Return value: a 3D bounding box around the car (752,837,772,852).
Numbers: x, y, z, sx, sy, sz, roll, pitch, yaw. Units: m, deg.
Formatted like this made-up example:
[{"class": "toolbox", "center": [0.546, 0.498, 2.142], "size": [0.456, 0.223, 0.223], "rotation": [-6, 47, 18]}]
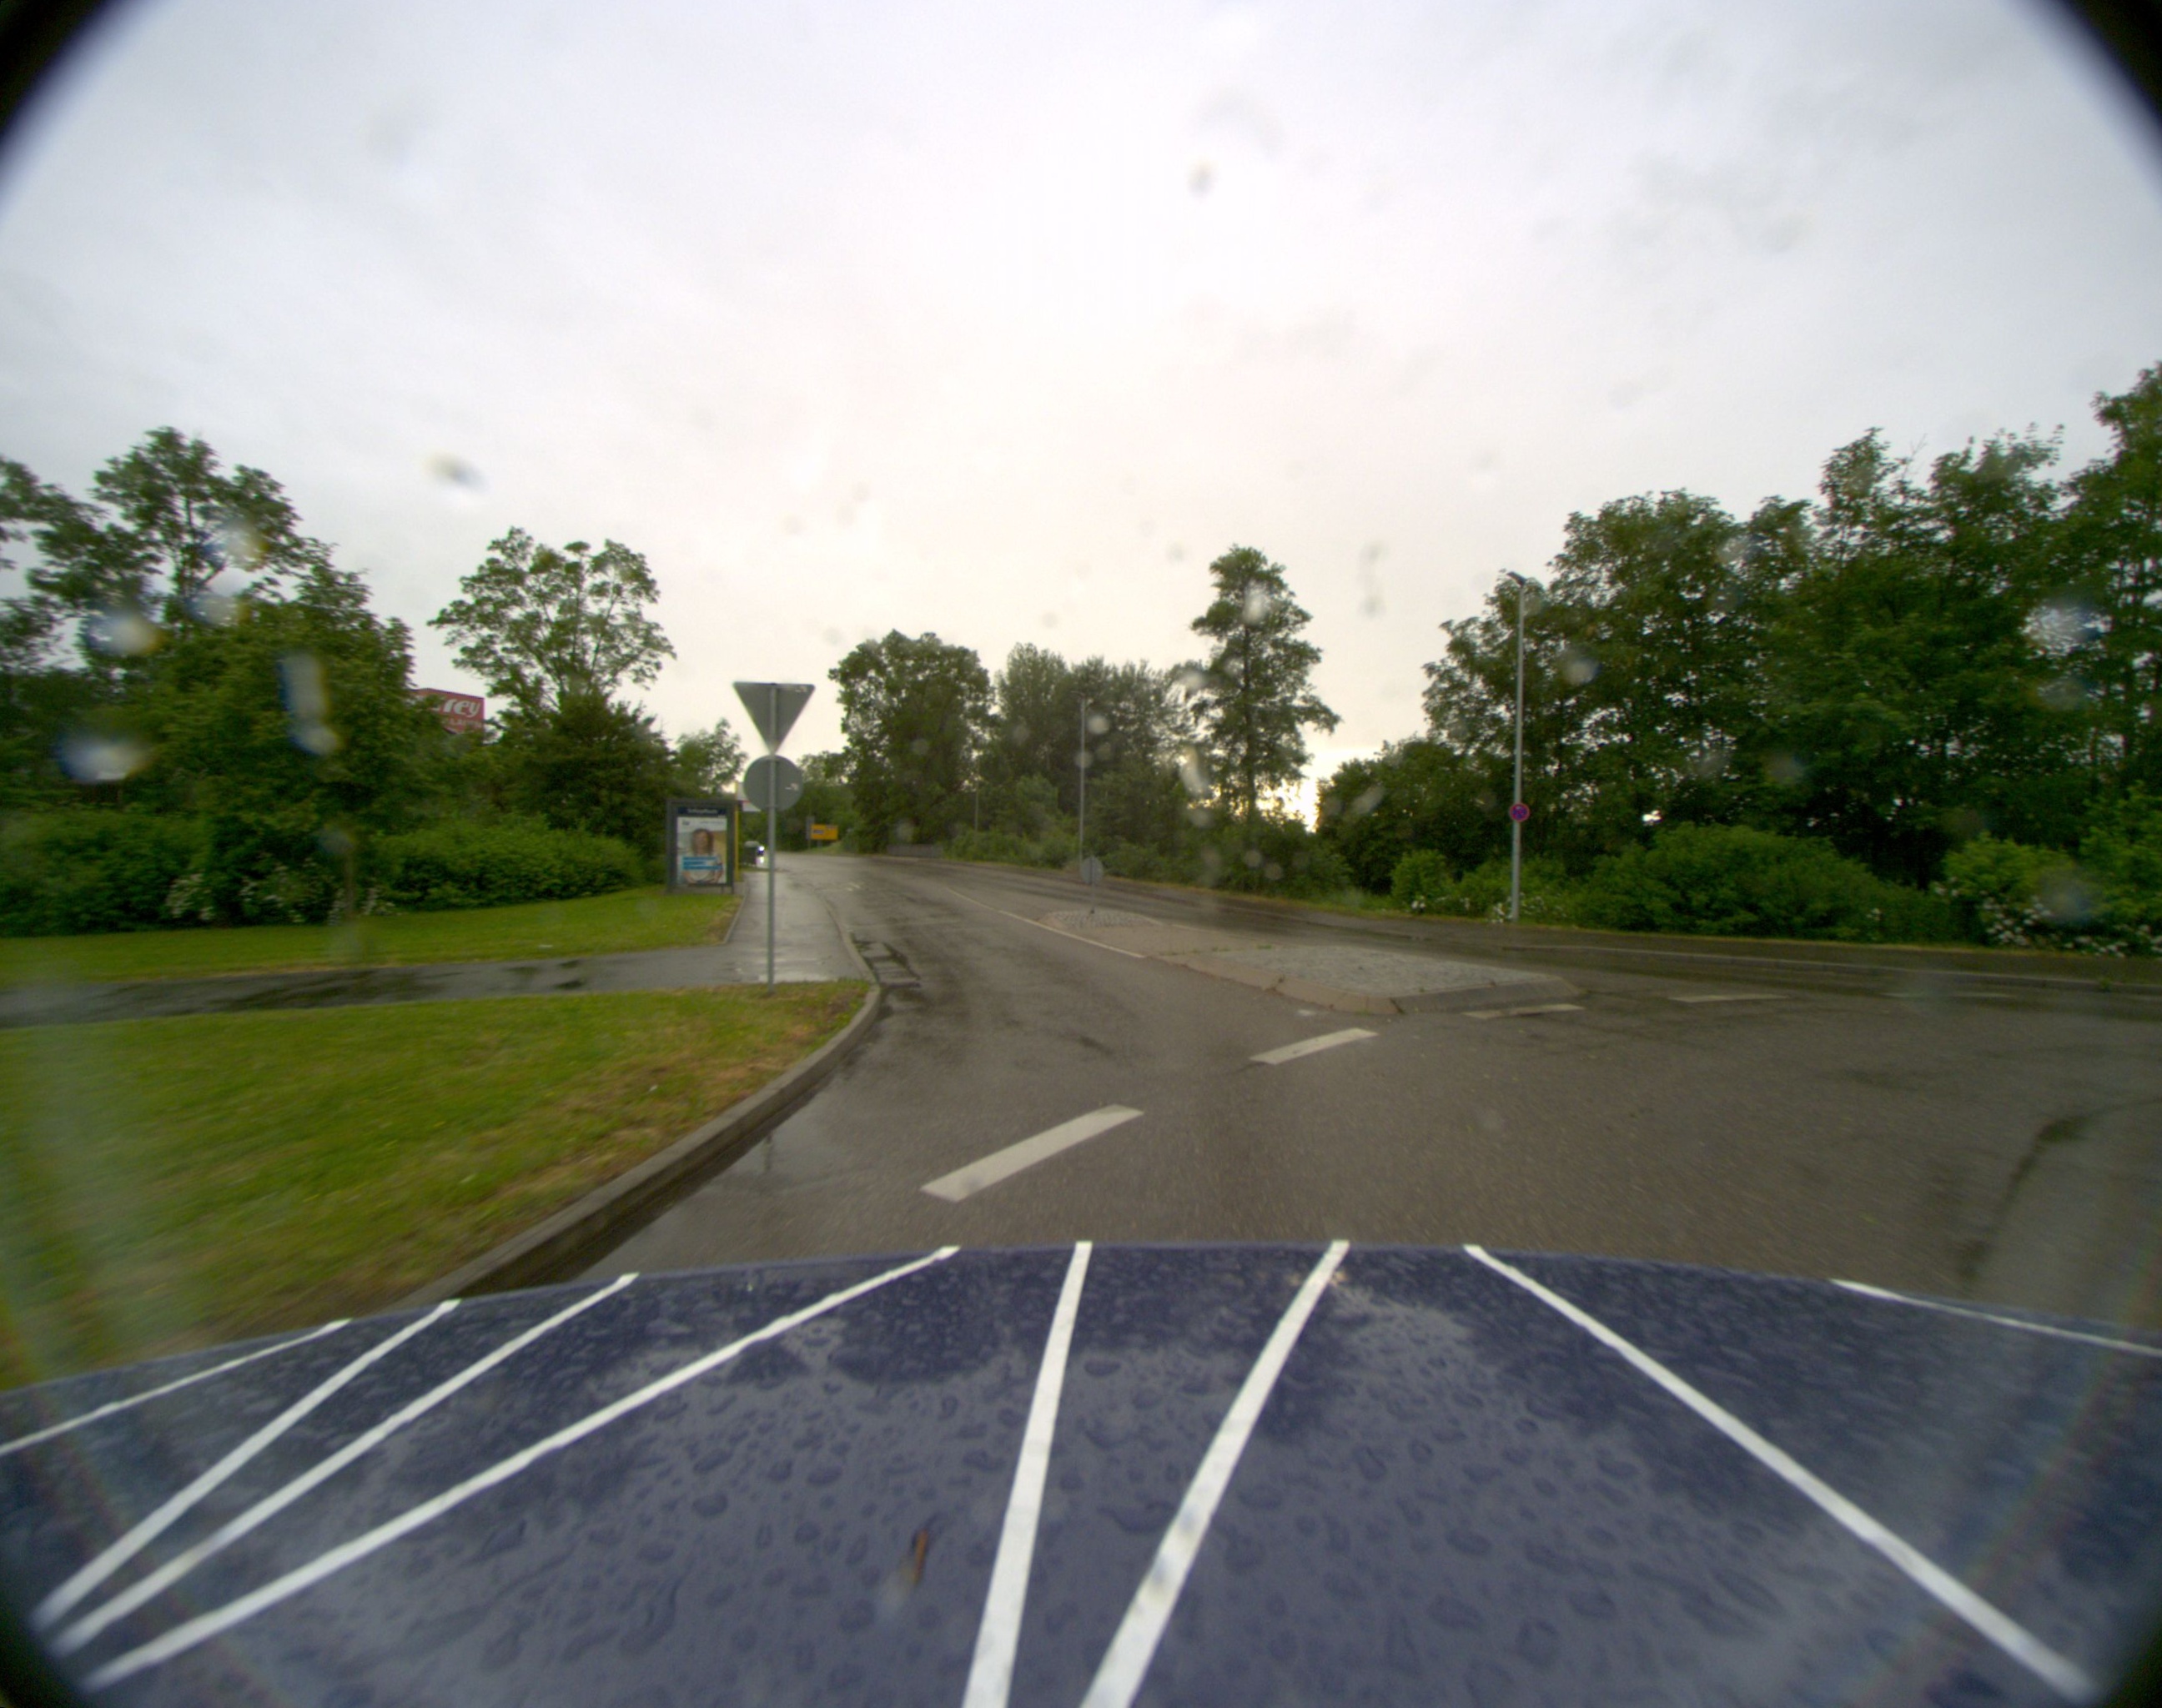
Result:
[{"class": "car", "center": [-33.179, -1.018, 78.967], "size": [1.859, 1.481, 4.112], "rotation": [0, 1, -23]}]
